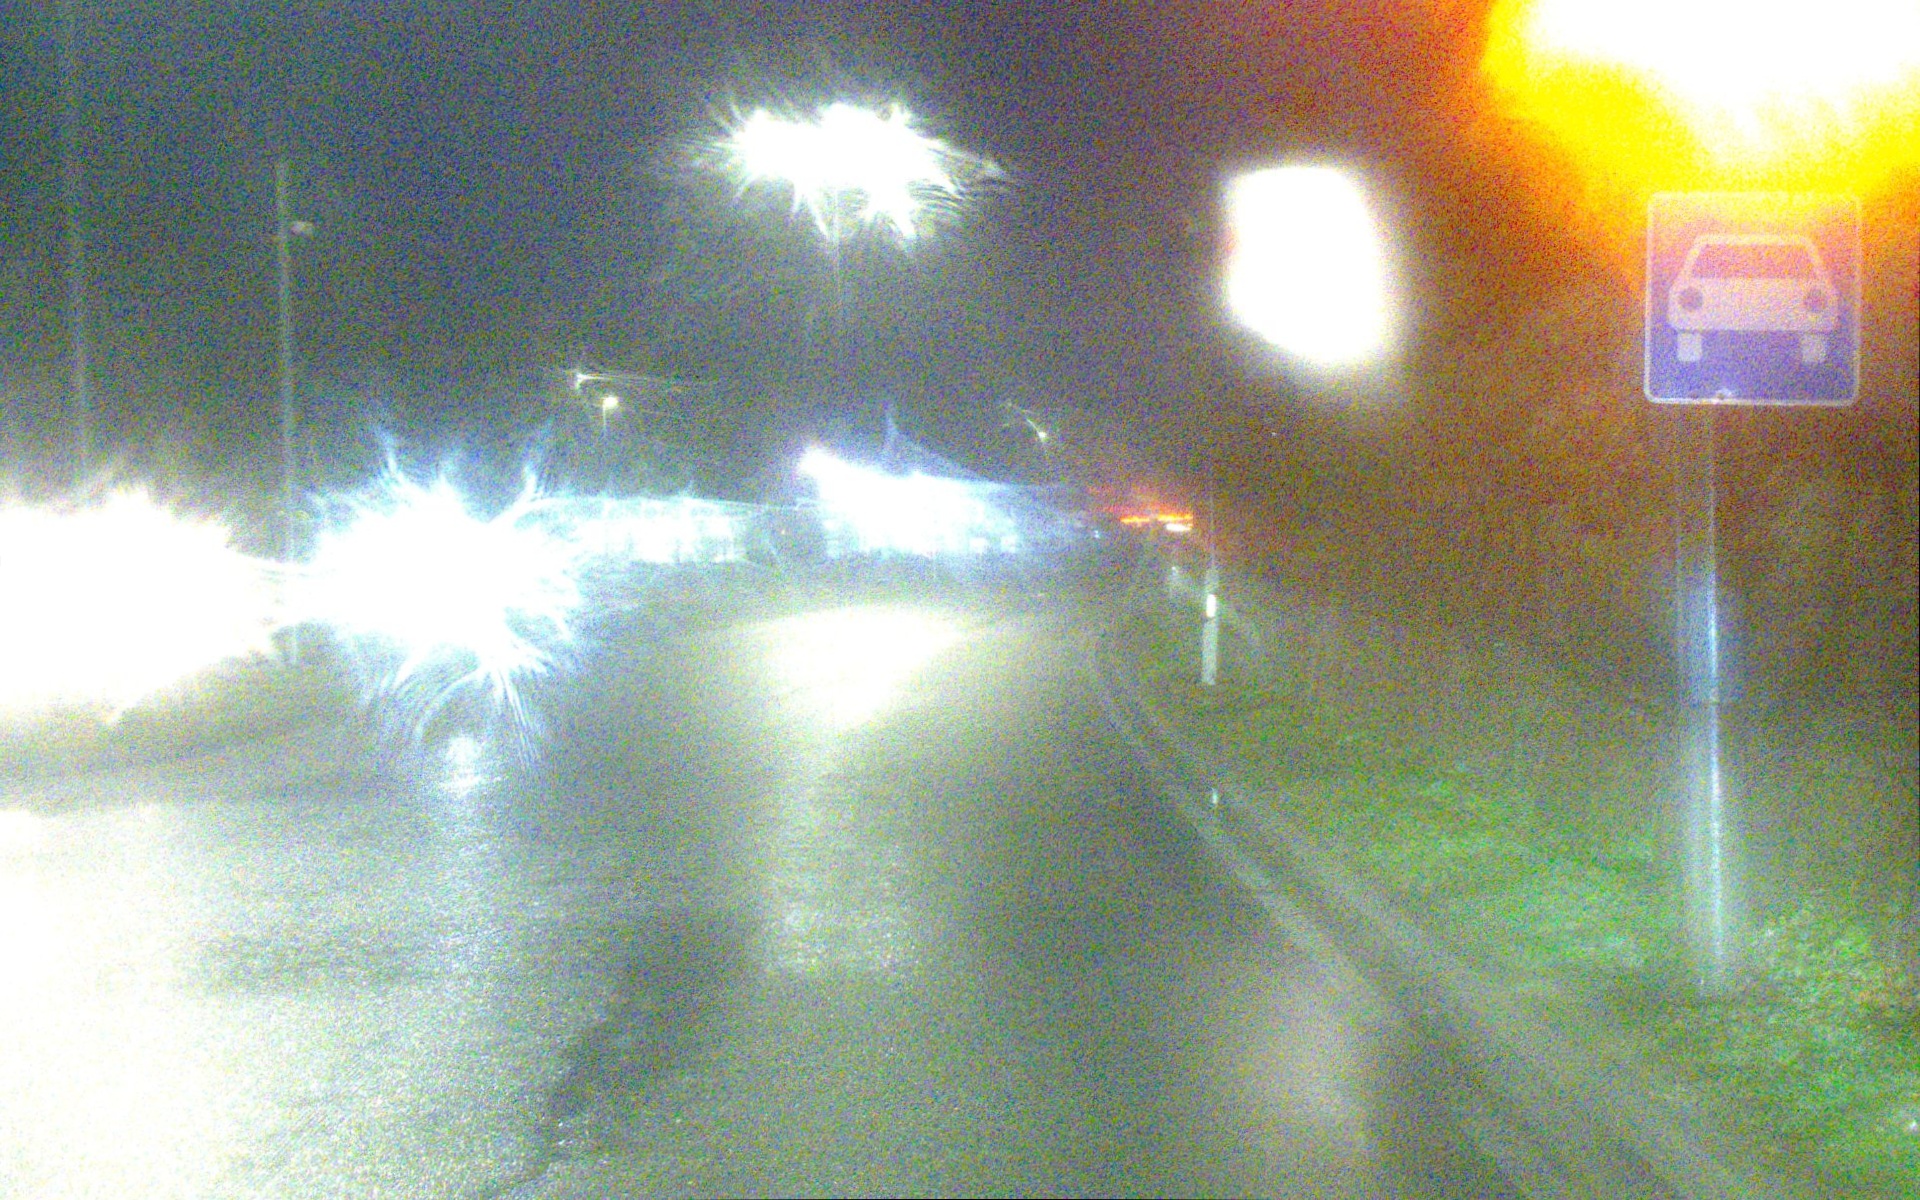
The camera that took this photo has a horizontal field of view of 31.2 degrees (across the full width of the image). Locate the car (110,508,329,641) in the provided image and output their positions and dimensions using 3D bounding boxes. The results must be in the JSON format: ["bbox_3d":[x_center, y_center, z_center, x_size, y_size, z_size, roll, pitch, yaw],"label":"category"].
[{"bbox_3d":[-9.827,-0.335,45.921,1.718,1.697,4.142,0,0,5],"label":"car"}]

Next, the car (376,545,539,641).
[{"bbox_3d":[-8.348,-0.114,57.467,1.708,1.529,4.599,0,0,5],"label":"car"}]

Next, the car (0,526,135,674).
[{"bbox_3d":[-10.274,-0.001,37.315,1.585,1.520,3.651,0,0,3],"label":"car"}]
